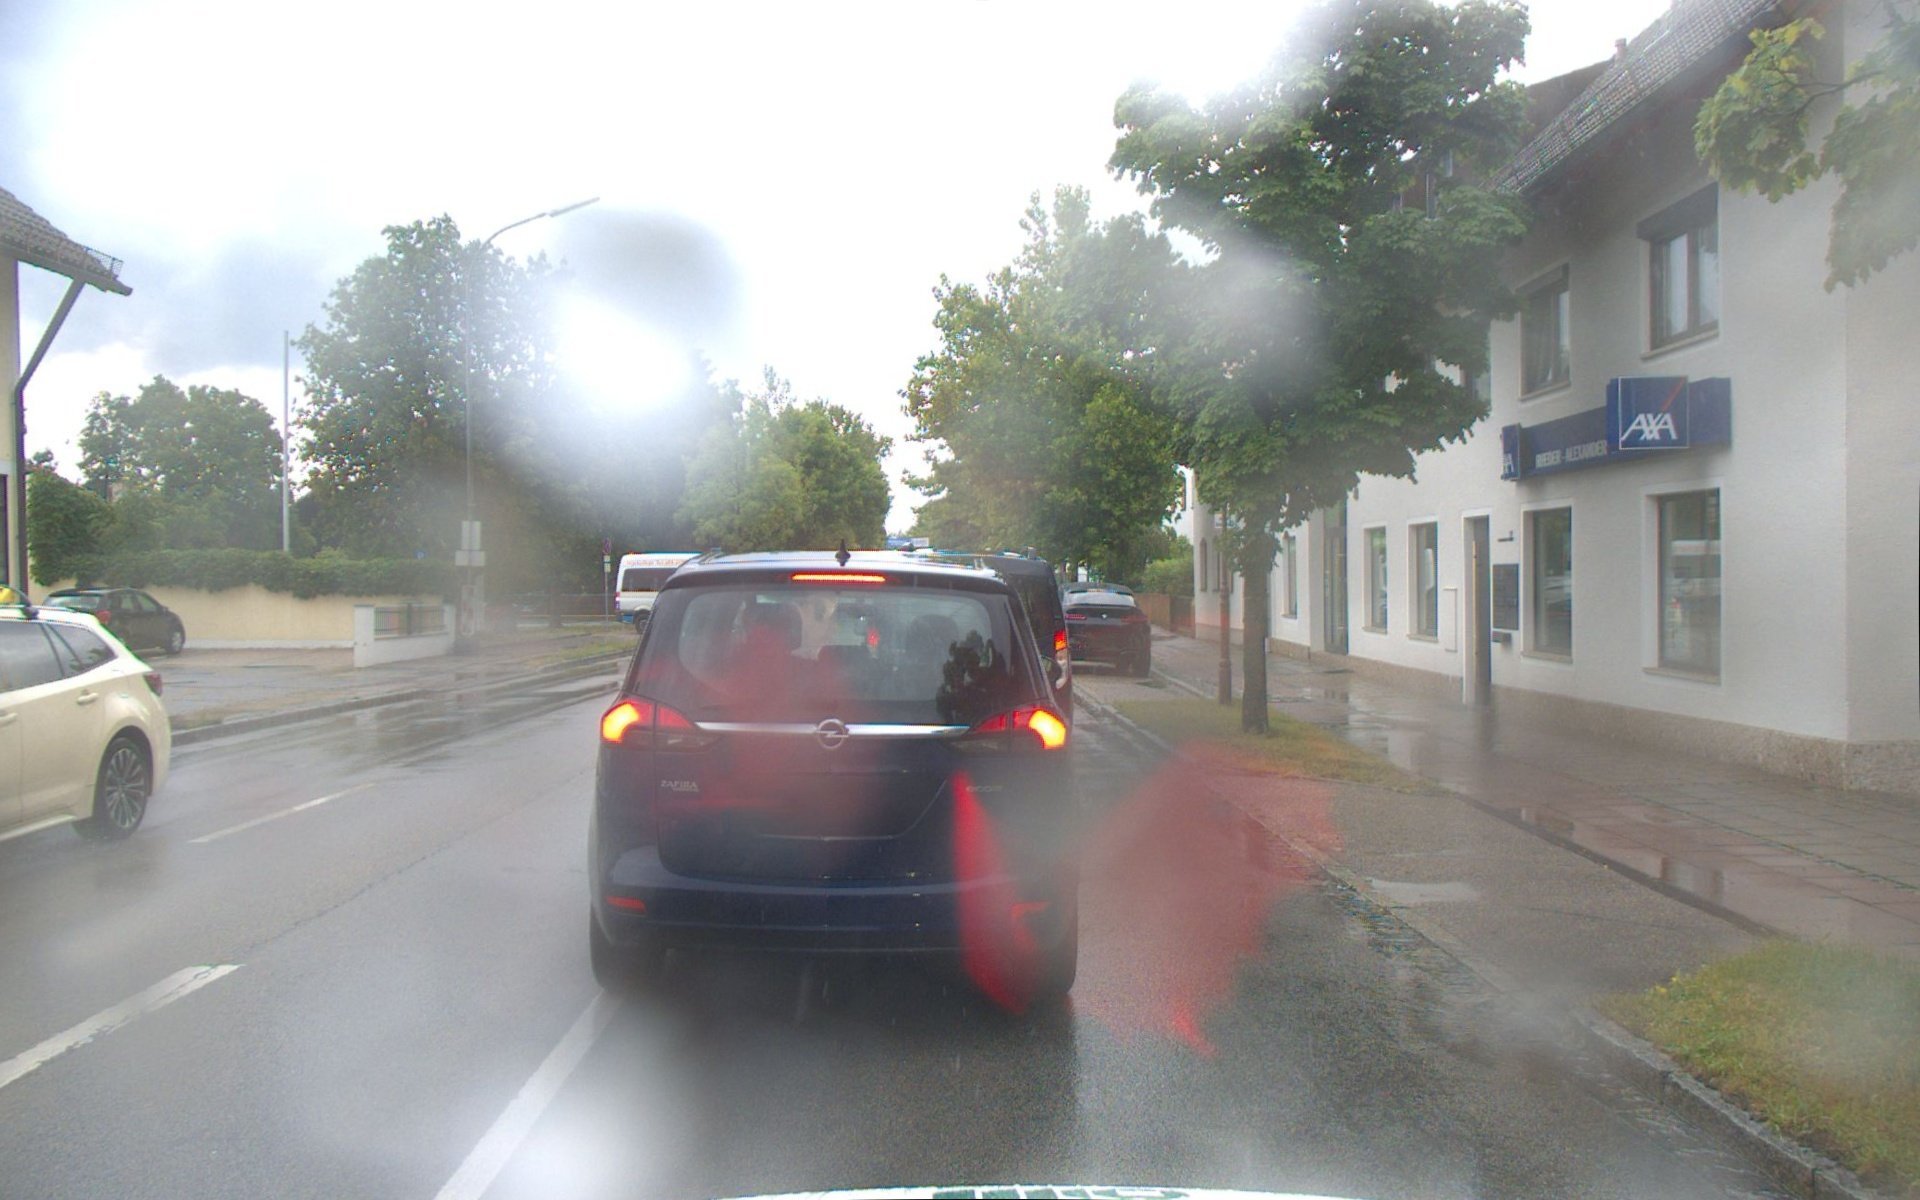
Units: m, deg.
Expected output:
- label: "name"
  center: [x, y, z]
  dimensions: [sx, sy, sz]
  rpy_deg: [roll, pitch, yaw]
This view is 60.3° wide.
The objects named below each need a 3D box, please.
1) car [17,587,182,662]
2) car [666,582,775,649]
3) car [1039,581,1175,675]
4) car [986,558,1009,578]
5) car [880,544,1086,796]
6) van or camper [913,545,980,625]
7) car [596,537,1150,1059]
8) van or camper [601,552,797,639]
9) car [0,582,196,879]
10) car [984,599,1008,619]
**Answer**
- label: "car"
  center: [-17.565, 0.469, 33.933]
  dimensions: [1.574, 1.404, 3.508]
  rpy_deg: [-2, 0, -1]
- label: "car"
  center: [-5.541, 0.337, 38.723]
  dimensions: [1.956, 1.432, 3.883]
  rpy_deg: [-2, 0, 0]
- label: "car"
  center: [2.665, 0.489, 30.904]
  dimensions: [2.075, 1.609, 3.934]
  rpy_deg: [1, 0, -2]
- label: "car"
  center: [2.942, -2.490, 129.165]
  dimensions: [1.597, 1.402, 3.622]
  rpy_deg: [-2, 0, -1]
- label: "car"
  center: [0.149, 0.495, 13.539]
  dimensions: [1.470, 1.807, 3.111]
  rpy_deg: [1, 0, -1]
- label: "van or camper"
  center: [-0.500, -0.537, 59.854]
  dimensions: [2.312, 2.712, 5.371]
  rpy_deg: [-1, 0, -1]
- label: "car"
  center: [-0.297, 0.616, 7.061]
  dimensions: [1.733, 1.632, 3.662]
  rpy_deg: [1, 0, -1]
- label: "van or camper"
  center: [-8.685, -0.134, 55.030]
  dimensions: [6.116, 2.754, 2.102]
  rpy_deg: [-1, 0, 17]
- label: "car"
  center: [-5.854, 0.707, 8.623]
  dimensions: [1.716, 1.537, 4.230]
  rpy_deg: [-2, 0, 0]
- label: "car"
  center: [2.576, 0.653, 119.746]
  dimensions: [1.597, 1.402, 3.622]
  rpy_deg: [1, 0, -1]
